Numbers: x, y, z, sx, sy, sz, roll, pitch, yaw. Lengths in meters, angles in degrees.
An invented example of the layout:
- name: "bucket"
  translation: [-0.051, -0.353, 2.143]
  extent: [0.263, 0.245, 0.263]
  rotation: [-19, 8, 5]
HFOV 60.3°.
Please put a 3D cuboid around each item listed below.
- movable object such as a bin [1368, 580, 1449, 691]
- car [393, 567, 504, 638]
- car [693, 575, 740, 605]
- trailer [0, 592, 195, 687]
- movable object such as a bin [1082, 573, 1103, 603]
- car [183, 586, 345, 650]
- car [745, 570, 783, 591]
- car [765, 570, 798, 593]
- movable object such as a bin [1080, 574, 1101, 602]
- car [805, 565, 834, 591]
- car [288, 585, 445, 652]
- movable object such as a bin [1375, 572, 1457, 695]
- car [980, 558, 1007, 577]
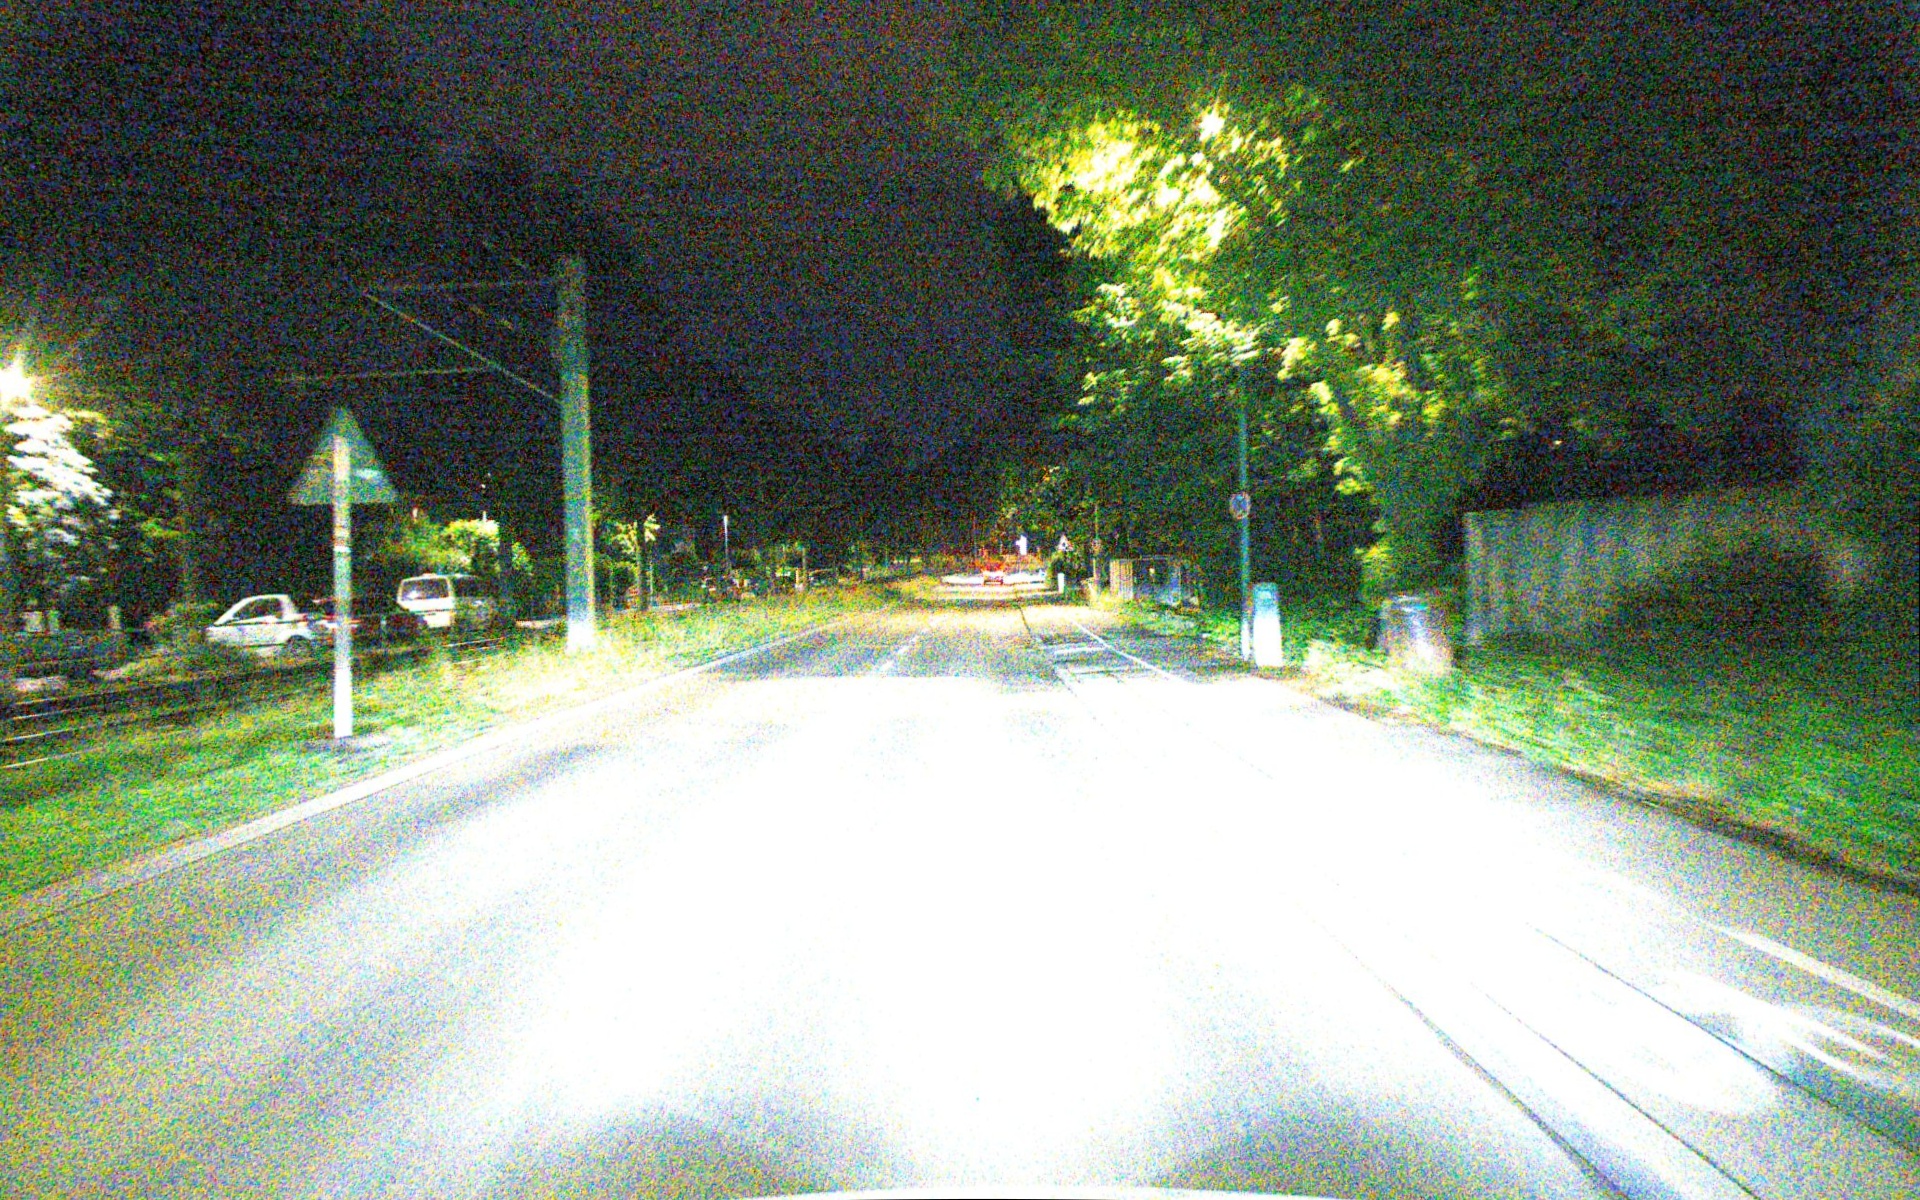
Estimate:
- name: "movable object such as a bin"
  translation: [4.821, 0.367, 17.830]
  extent: [0.708, 1.141, 0.894]
  rotation: [-1, 1, 8]
- name: "car"
  translation: [-14.976, 0.041, 48.680]
  extent: [1.819, 1.937, 4.879]
  rotation: [-1, 1, -2]
- name: "car"
  translation: [-14.237, -0.594, 96.945]
  extent: [1.952, 1.656, 4.678]
  rotation: [-1, 1, 1]
- name: "trailer"
  translation: [-15.644, 0.692, 28.481]
  extent: [2.369, 1.398, 4.658]
  rotation: [-5, 1, 6]
- name: "movable object such as a bin"
  translation: [5.347, -0.494, 66.673]
  extent: [0.816, 1.202, 0.829]
  rotation: [-1, 1, 4]
- name: "car"
  translation: [-15.571, 0.387, 37.099]
  extent: [2.968, 1.349, 1.533]
  rotation: [-1, 1, -4]
- name: "car"
  translation: [-13.793, -1.374, 116.656]
  extent: [1.952, 1.361, 5.433]
  rotation: [-1, 1, 1]
- name: "car"
  translation: [-13.194, -1.370, 122.463]
  extent: [1.952, 1.556, 4.001]
  rotation: [-2, 1, 1]
- name: "movable object such as a bin"
  translation: [5.323, -0.495, 67.550]
  extent: [0.839, 1.139, 0.841]
  rotation: [-1, 1, 4]
- name: "car"
  translation: [-12.481, -1.993, 147.223]
  extent: [2.049, 2.048, 4.001]
  rotation: [-5, 1, 1]
- name: "car"
  translation: [-15.165, 0.416, 42.603]
  extent: [1.862, 1.549, 5.174]
  rotation: [-1, 1, 4]
- name: "movable object such as a bin"
  translation: [4.676, 0.333, 16.996]
  extent: [0.708, 1.221, 0.720]
  rotation: [-1, 1, 8]
- name: "car"
  translation: [2.937, -2.853, 146.250]
  extent: [2.118, 1.610, 4.012]
  rotation: [-1, 1, -2]
